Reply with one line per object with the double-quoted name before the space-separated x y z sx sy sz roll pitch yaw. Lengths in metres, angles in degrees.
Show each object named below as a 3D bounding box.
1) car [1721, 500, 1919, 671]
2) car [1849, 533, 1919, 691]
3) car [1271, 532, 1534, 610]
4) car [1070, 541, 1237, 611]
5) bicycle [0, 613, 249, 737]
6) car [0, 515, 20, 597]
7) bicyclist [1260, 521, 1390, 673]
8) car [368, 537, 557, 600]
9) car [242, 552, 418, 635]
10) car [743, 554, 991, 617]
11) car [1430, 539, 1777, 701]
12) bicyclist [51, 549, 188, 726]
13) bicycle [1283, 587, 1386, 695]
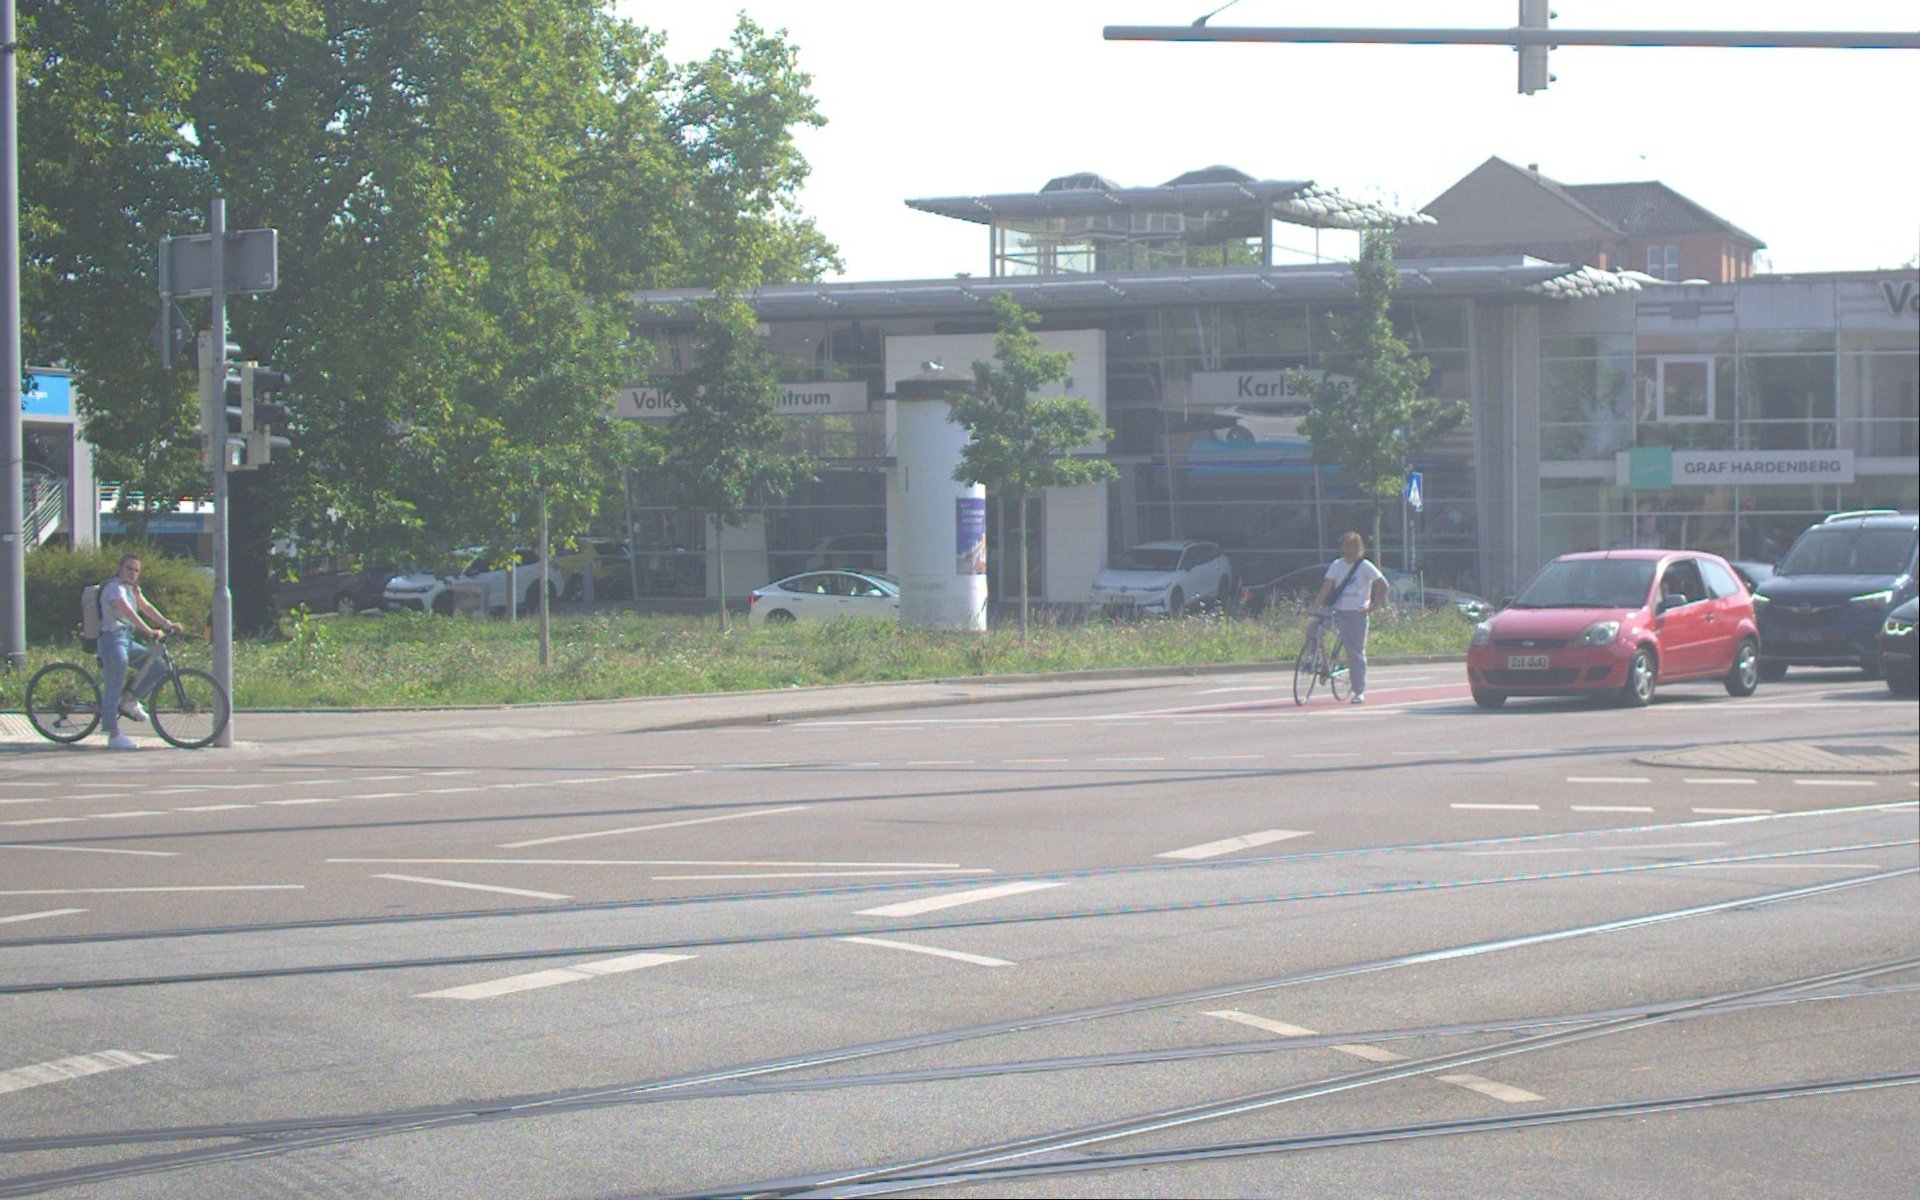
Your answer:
"car" 10.445 -0.221 39.138 1.801 1.821 4.764 0 2 35
"car" 10.346 0.066 33.639 1.801 1.447 4.342 0 2 35
"car" 8.093 -0.538 62.897 4.389 1.365 1.998 0 2 25
"car" 4.271 -0.550 75.162 1.997 1.457 4.317 0 1 29
"bicycle" -6.862 0.604 28.135 2.071 0.891 0.567 3 2 23
"car" -18.073 -0.720 57.693 3.987 1.371 2.000 -1 1 3
"bicyclist" 3.622 -0.040 34.067 1.085 1.470 0.971 0 1 19
"car" -11.900 -0.771 82.398 4.050 1.457 1.999 -1 2 -42
"car" -15.637 -0.189 85.323 3.993 2.007 1.943 0 1 30
"car" -1.798 -0.282 66.752 4.388 1.161 1.998 0 2 20
"car" 6.239 0.143 33.016 1.801 1.411 3.992 0 2 35
"bicyclist" -6.872 0.295 28.128 0.818 1.422 0.730 0 1 22
"bicycle" 3.727 0.391 34.062 0.528 0.986 2.196 -1 1 19
